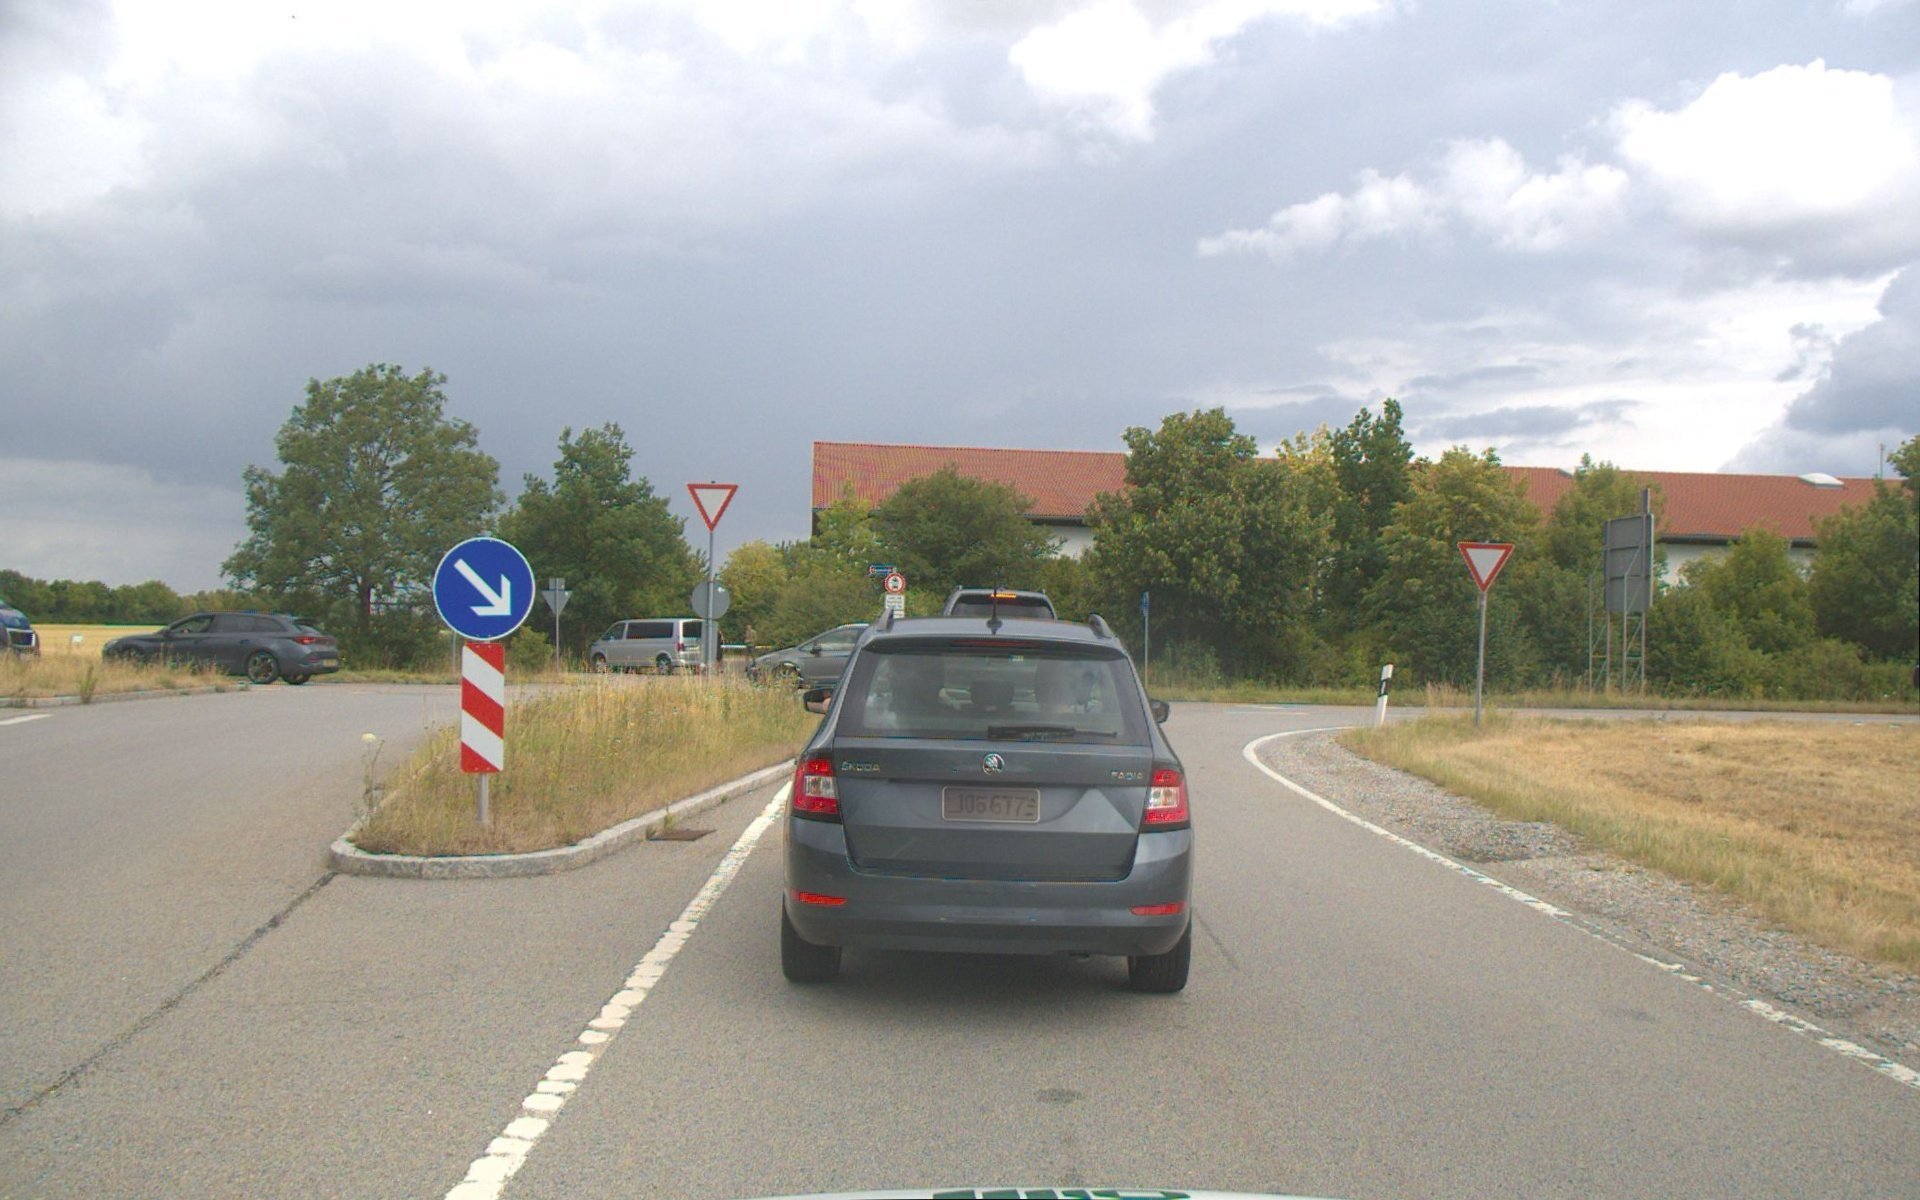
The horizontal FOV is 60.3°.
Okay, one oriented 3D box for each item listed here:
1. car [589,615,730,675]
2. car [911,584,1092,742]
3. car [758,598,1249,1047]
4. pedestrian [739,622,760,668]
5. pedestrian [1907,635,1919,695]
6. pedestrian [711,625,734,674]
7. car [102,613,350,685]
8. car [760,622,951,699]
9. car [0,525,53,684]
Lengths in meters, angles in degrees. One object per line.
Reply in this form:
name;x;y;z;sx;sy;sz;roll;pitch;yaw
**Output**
car;-10.962;1.592;60.193;4.813;2.049;2.335;0;0;34
car;0.425;0.799;21.709;1.954;1.806;4.640;1;-2;-4
car;0.118;0.769;7.515;1.642;1.488;3.706;2;0;-1
pedestrian;-7.975;1.694;62.649;0.571;1.712;0.566;0;0;21
pedestrian;27.631;1.854;47.435;0.614;1.712;0.529;0;0;-10
pedestrian;-8.612;1.776;59.941;0.519;1.756;0.640;0;0;33
car;-14.797;0.971;33.464;4.252;1.368;1.682;0;0;1
car;-2.322;1.316;36.926;4.127;1.629;1.999;0;0;-4
car;-19.006;0.064;28.513;5.444;2.685;2.147;0;0;-6
